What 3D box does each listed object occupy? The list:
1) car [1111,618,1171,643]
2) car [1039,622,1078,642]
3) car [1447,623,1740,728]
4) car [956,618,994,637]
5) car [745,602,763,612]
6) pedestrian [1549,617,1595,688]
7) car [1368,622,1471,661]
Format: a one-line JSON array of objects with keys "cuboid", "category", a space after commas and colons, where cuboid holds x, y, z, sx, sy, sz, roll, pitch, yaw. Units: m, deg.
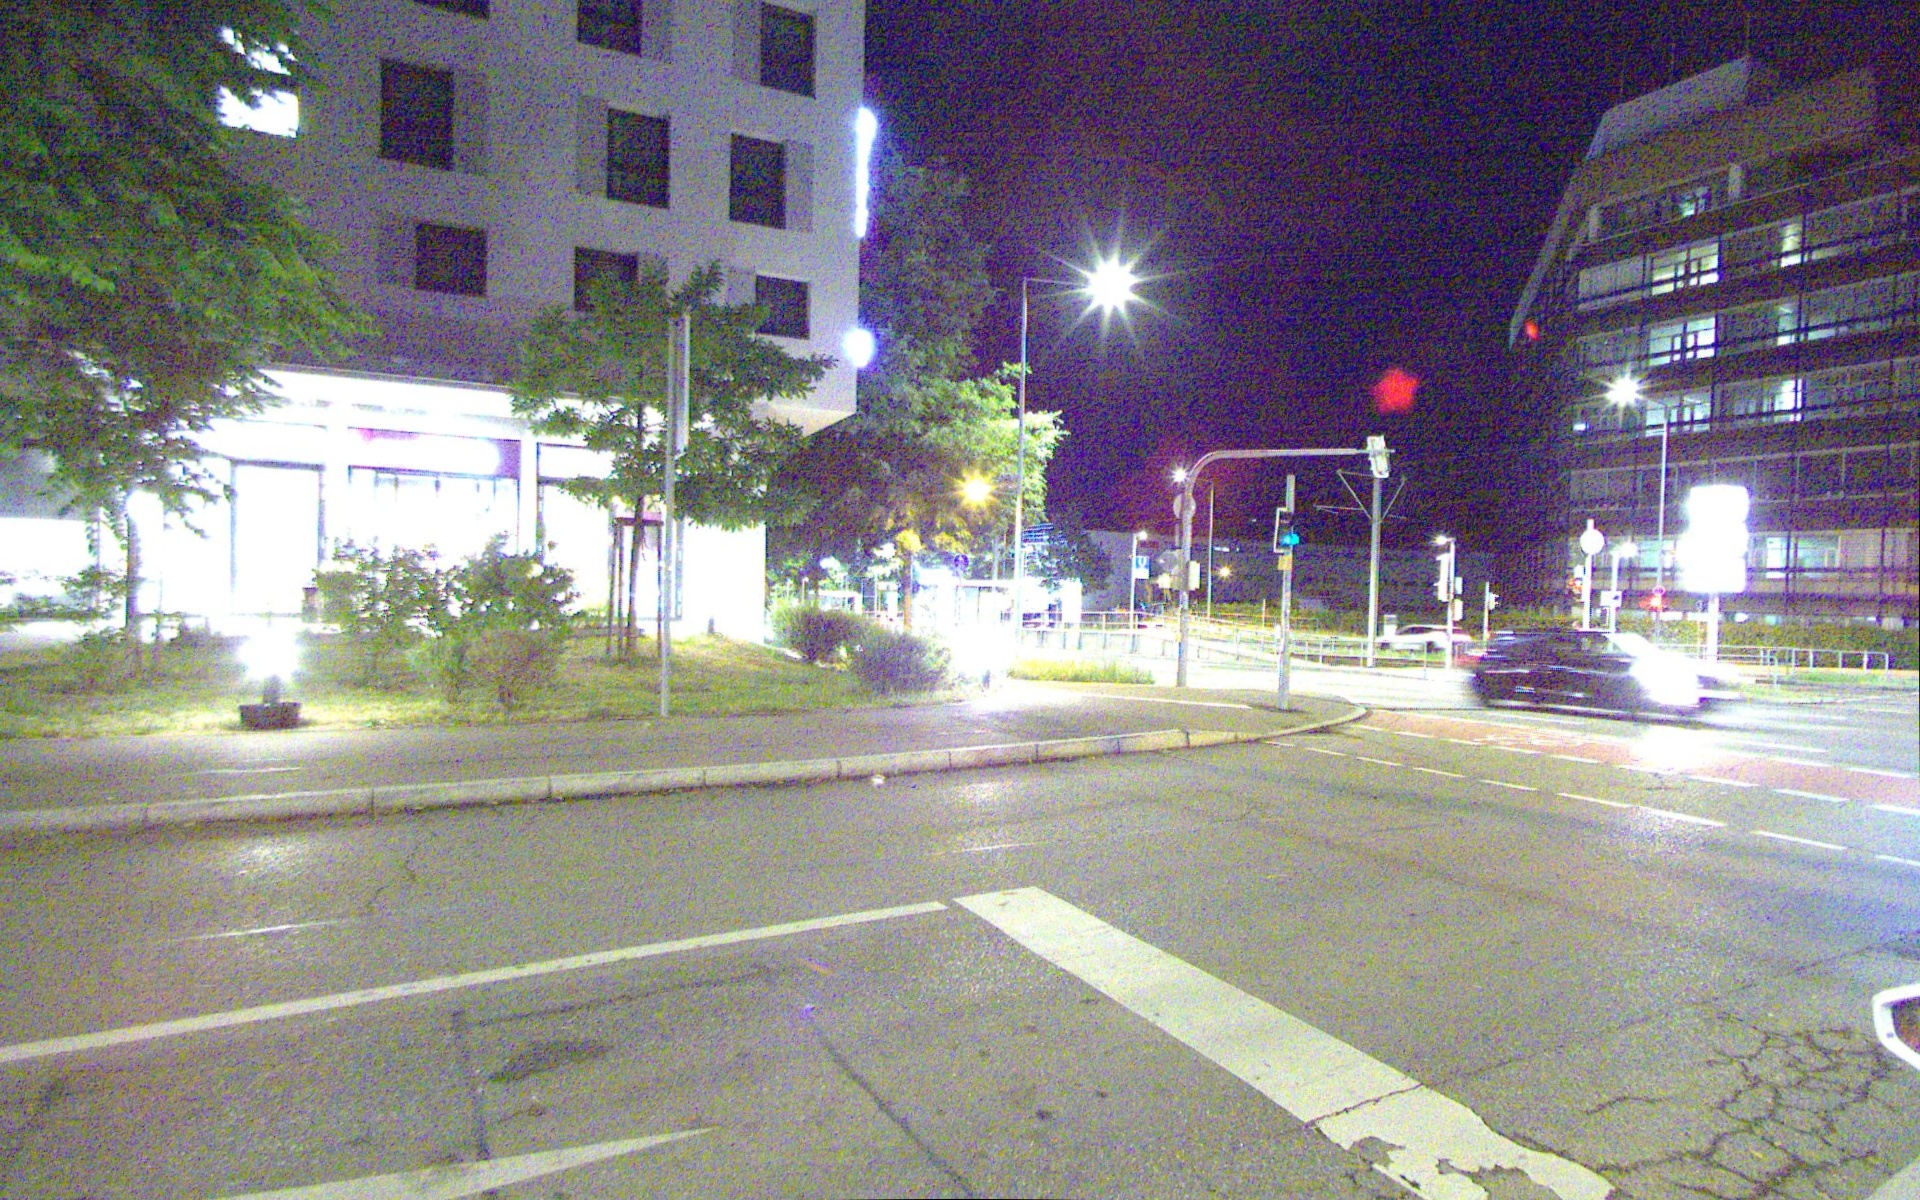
[{"cuboid": [12.535, 2.106, 69.723, 1.755, 1.506, 4.559, 1, 0, -26], "category": "car"}, {"cuboid": [8.612, 2.771, 87.906, 1.786, 1.653, 3.810, 1, -1, -23], "category": "car"}, {"cuboid": [10.473, 1.165, 16.909, 1.638, 1.493, 3.861, -2, 0, -28], "category": "car"}, {"cuboid": [1.282, 2.437, 89.073, 1.845, 1.506, 3.822, 3, 0, -26], "category": "car"}, {"cuboid": [-33.466, 1.136, 162.935, 1.845, 1.506, 3.822, 3, 0, -26], "category": "car"}, {"cuboid": [15.709, 1.342, 25.800, 0.693, 1.745, 0.678, 2, 0, -6], "category": "pedestrian"}, {"cuboid": [22.546, 2.004, 49.467, 1.916, 1.665, 4.382, 3, 0, -26], "category": "car"}]
